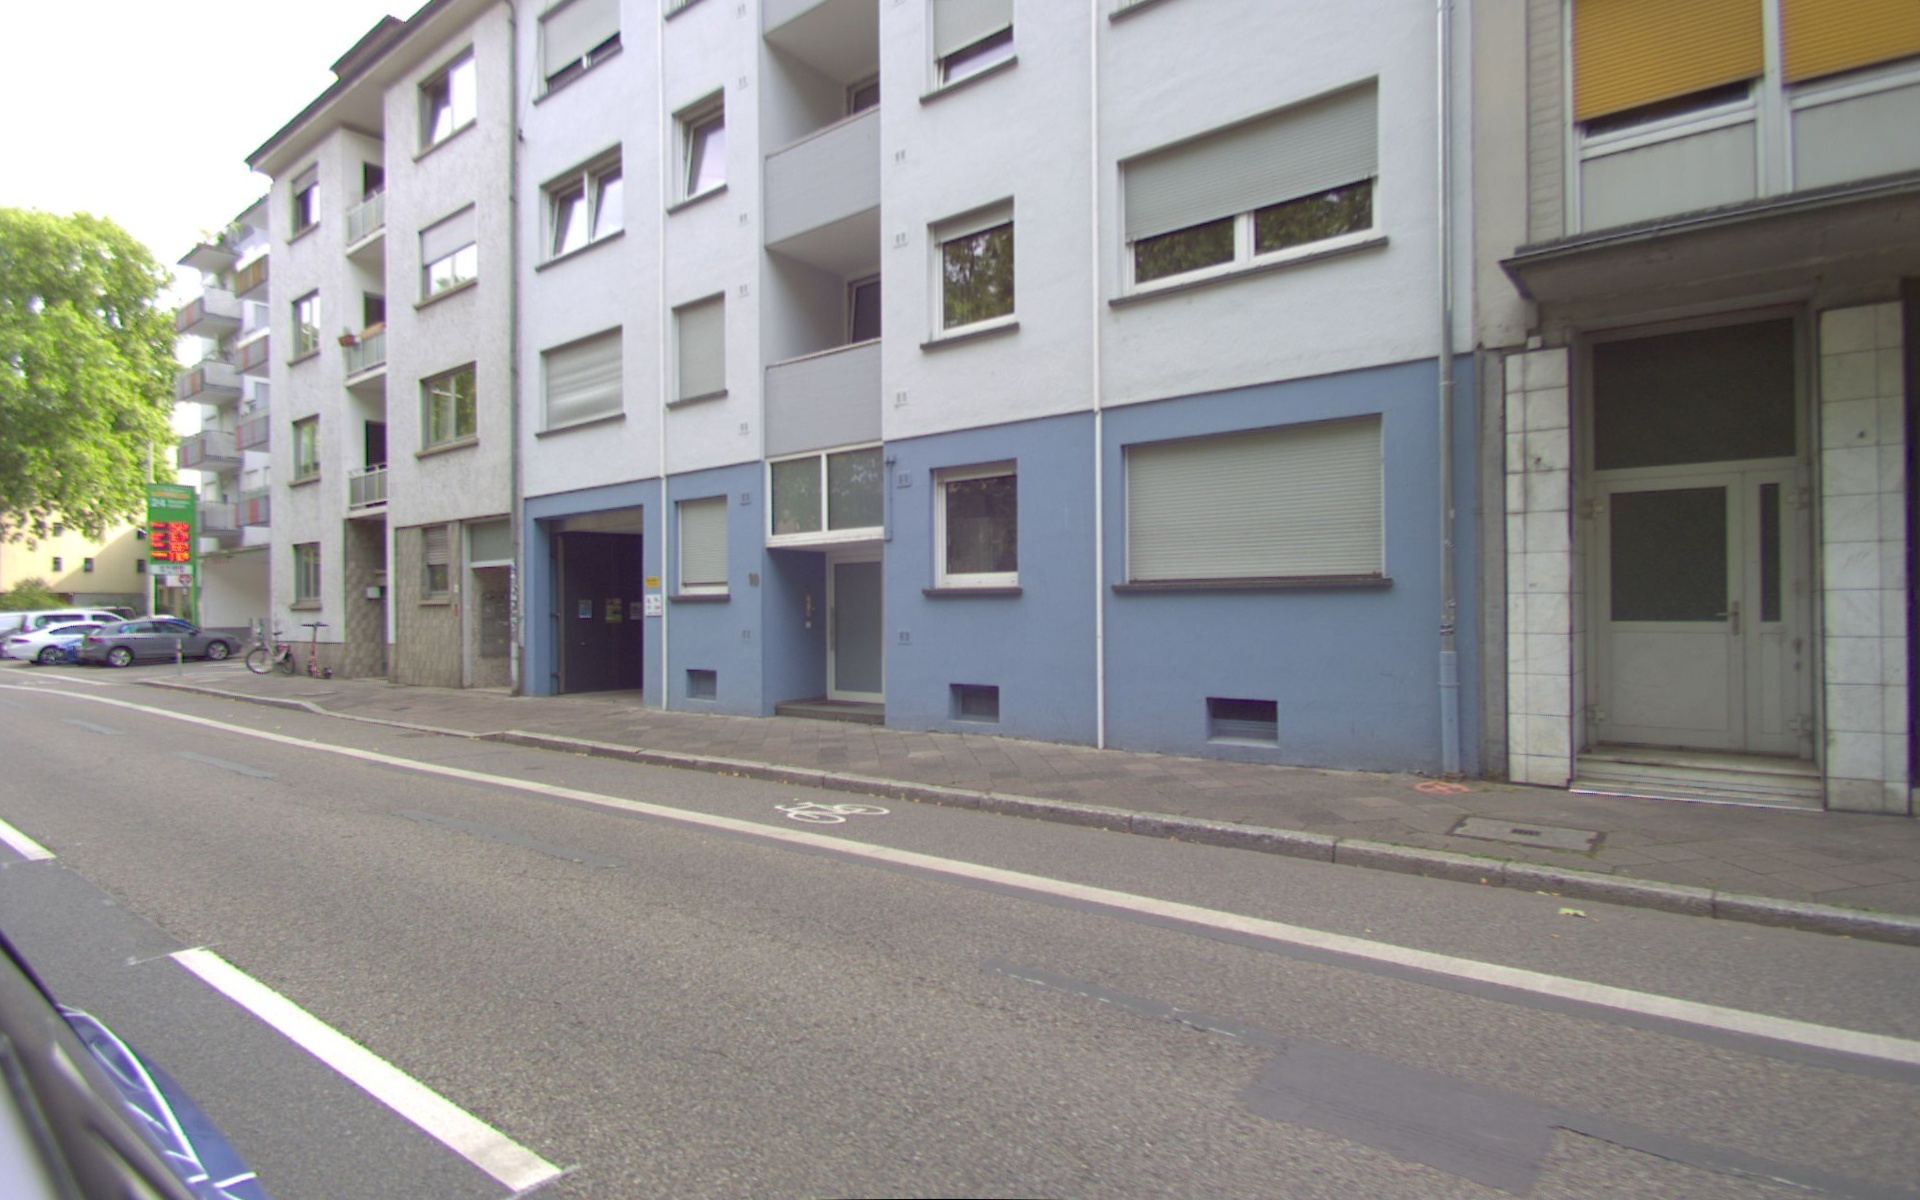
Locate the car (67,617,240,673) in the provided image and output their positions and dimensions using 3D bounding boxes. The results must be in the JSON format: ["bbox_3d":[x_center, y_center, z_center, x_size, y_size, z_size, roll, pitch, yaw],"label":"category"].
[{"bbox_3d":[-26.372,1.432,33.213,1.835,1.525,4.111,-2,1,39],"label":"car"}]

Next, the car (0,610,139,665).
[{"bbox_3d":[-37.294,1.508,41.975,1.992,1.948,4.720,-2,1,39],"label":"car"}]

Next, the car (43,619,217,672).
[{"bbox_3d":[-28.218,1.507,34.512,1.908,1.462,4.259,-2,1,39],"label":"car"}]

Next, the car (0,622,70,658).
[{"bbox_3d":[-46.276,1.990,49.162,1.731,1.560,4.319,-2,1,39],"label":"car"}]

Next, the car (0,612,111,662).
[{"bbox_3d":[-39.448,1.582,43.219,1.948,1.873,4.571,-2,1,39],"label":"car"}]

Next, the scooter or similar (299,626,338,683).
[{"bbox_3d":[-14.126,1.186,22.267,1.200,1.231,0.346,-2,0,39],"label":"scooter or similar"}]

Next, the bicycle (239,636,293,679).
[{"bbox_3d":[-16.337,1.329,23.821,1.661,0.957,0.591,-2,0,39],"label":"bicycle"}]

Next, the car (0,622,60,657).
[{"bbox_3d":[-48.121,2.023,50.555,1.752,1.618,4.474,-2,1,39],"label":"car"}]

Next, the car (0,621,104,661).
[{"bbox_3d":[-41.207,1.833,44.912,1.872,1.480,4.659,-2,1,39],"label":"car"}]

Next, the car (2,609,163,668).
[{"bbox_3d":[-32.320,1.357,37.362,1.922,1.861,4.170,-2,1,39],"label":"car"}]

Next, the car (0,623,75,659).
[{"bbox_3d":[-44.796,1.968,47.819,1.718,1.522,4.223,-2,1,39],"label":"car"}]

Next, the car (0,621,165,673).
[{"bbox_3d":[-30.568,1.581,35.206,1.872,1.462,4.230,-2,1,39],"label":"car"}]
